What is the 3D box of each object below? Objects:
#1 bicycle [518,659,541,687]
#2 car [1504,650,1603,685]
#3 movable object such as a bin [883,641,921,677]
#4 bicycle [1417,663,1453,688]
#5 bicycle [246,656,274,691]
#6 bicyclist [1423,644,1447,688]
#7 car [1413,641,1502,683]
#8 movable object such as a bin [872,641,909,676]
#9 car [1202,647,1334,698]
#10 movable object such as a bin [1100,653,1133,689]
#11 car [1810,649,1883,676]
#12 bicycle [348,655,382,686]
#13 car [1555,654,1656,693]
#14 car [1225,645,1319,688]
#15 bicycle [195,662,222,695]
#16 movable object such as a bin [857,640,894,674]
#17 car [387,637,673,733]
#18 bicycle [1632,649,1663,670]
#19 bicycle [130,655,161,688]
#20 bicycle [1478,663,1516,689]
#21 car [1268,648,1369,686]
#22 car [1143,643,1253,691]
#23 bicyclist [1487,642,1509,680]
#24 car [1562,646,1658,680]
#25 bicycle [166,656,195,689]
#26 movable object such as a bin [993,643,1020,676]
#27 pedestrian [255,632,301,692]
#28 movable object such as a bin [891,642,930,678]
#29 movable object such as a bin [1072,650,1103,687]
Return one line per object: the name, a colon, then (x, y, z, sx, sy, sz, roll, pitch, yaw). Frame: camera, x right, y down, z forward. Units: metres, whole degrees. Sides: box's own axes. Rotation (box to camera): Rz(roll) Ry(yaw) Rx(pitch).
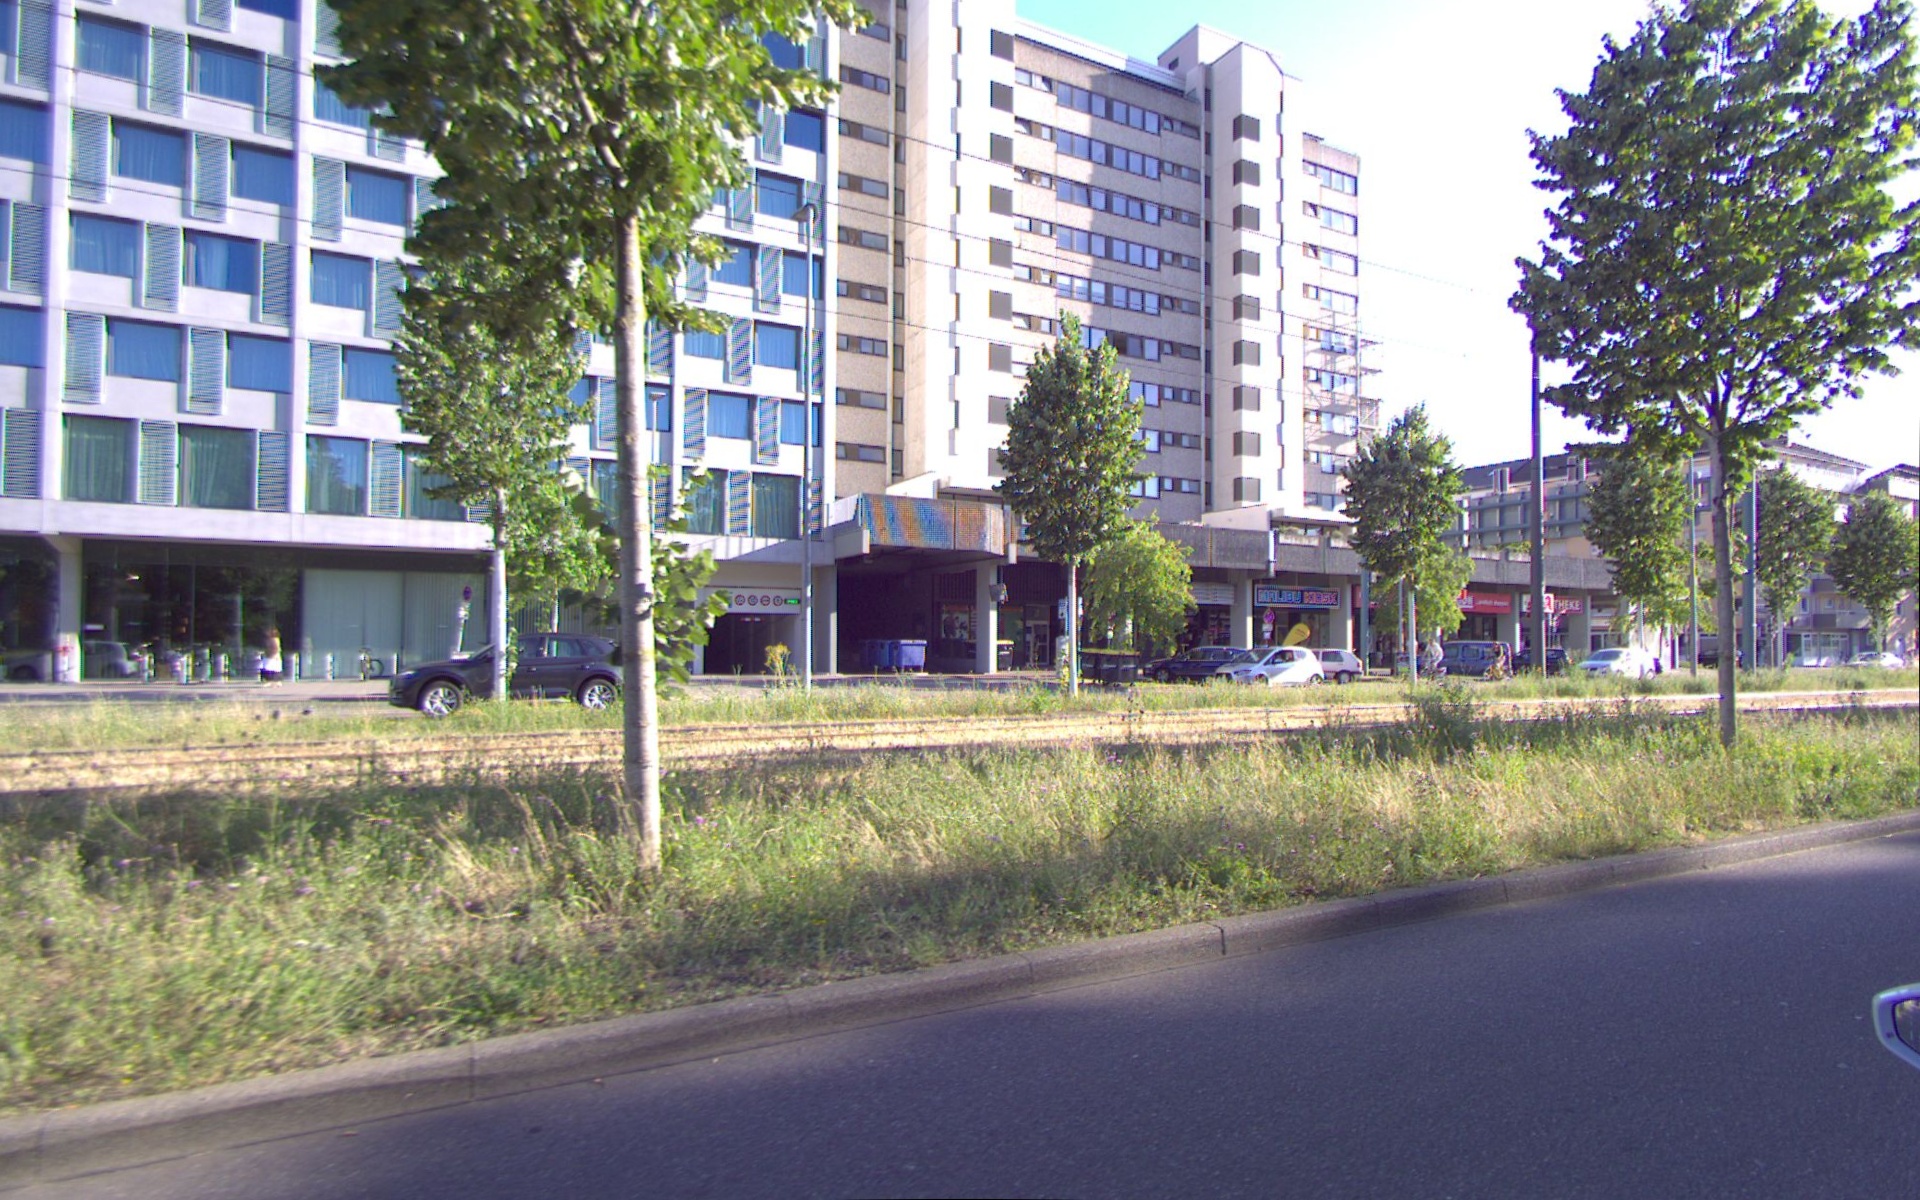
bicycle: (-14.683, 2.473, 34.253, 0.506, 0.916, 1.796, 1, -3, -30)
car: (30.087, 3.423, 51.053, 3.919, 1.595, 2.001, 0, -1, 14)
movable object such as a bin: (-2.406, 2.446, 41.882, 1.385, 1.458, 0.797, 1, -2, -28)
bicycle: (19.872, 3.159, 42.003, 1.692, 1.006, 0.541, 1, -1, -31)
bicycle: (-21.522, 2.238, 30.894, 0.477, 0.979, 1.744, 1, -1, -28)
bicyclist: (19.840, 2.759, 41.977, 0.848, 1.812, 0.537, 1, -1, -31)
car: (23.713, 2.932, 48.029, 3.686, 1.853, 1.824, 0, -1, 23)
movable object such as a bin: (-2.952, 2.500, 42.891, 1.385, 1.458, 0.797, 1, -2, -28)
car: (10.056, 2.321, 32.795, 3.948, 1.534, 1.879, 1, -1, -27)
movable object such as a bin: (5.685, 2.582, 36.571, 0.923, 1.297, 0.858, 1, -2, -13)
car: (48.199, 3.382, 54.591, 3.645, 1.415, 1.924, 1, -3, -31)
bicycle: (-18.759, 2.205, 31.695, 0.503, 0.916, 1.804, 1, -2, -17)
car: (27.452, 3.083, 42.727, 3.948, 1.534, 1.879, 1, -1, -27)
car: (12.915, 2.725, 41.536, 3.555, 1.543, 1.620, 1, -1, 22)
bicycle: (-22.519, 2.339, 30.123, 0.506, 0.916, 1.793, 2, -3, -33)
movable object such as a bin: (-3.706, 2.489, 44.008, 1.385, 1.458, 0.938, 1, -3, -28)
car: (-8.491, 1.612, 20.106, 5.022, 1.711, 1.879, 1, -1, -27)
bicycle: (33.762, 2.907, 49.316, 1.697, 0.976, 0.604, 1, -1, -31)
bicycle: (-23.934, 2.078, 29.536, 0.506, 0.916, 1.793, 2, -3, -33)
bicycle: (22.708, 3.194, 42.464, 1.768, 1.053, 0.552, 1, -1, -27)
car: (15.307, 2.859, 43.042, 3.919, 1.472, 1.788, 0, -1, 14)
car: (9.477, 2.616, 40.019, 4.016, 1.622, 1.749, 1, 0, 22)
bicyclist: (22.748, 2.576, 42.482, 0.673, 1.564, 0.549, 1, -1, -27)
car: (34.265, 3.303, 53.076, 3.922, 1.583, 2.000, 0, -1, 21)
bicycle: (-23.050, 2.122, 29.724, 0.506, 0.916, 1.793, 2, -3, -33)
movable object such as a bin: (1.977, 2.548, 42.930, 0.857, 1.389, 0.819, 1, -2, -28)
pedestrian: (-19.591, 1.774, 28.873, 0.957, 1.675, 0.841, 1, -2, -26)
movable object such as a bin: (-2.012, 2.434, 41.107, 1.385, 1.458, 0.797, 1, -2, -28)
movable object such as a bin: (4.778, 2.554, 37.653, 0.923, 1.375, 0.858, 1, -2, -13)
